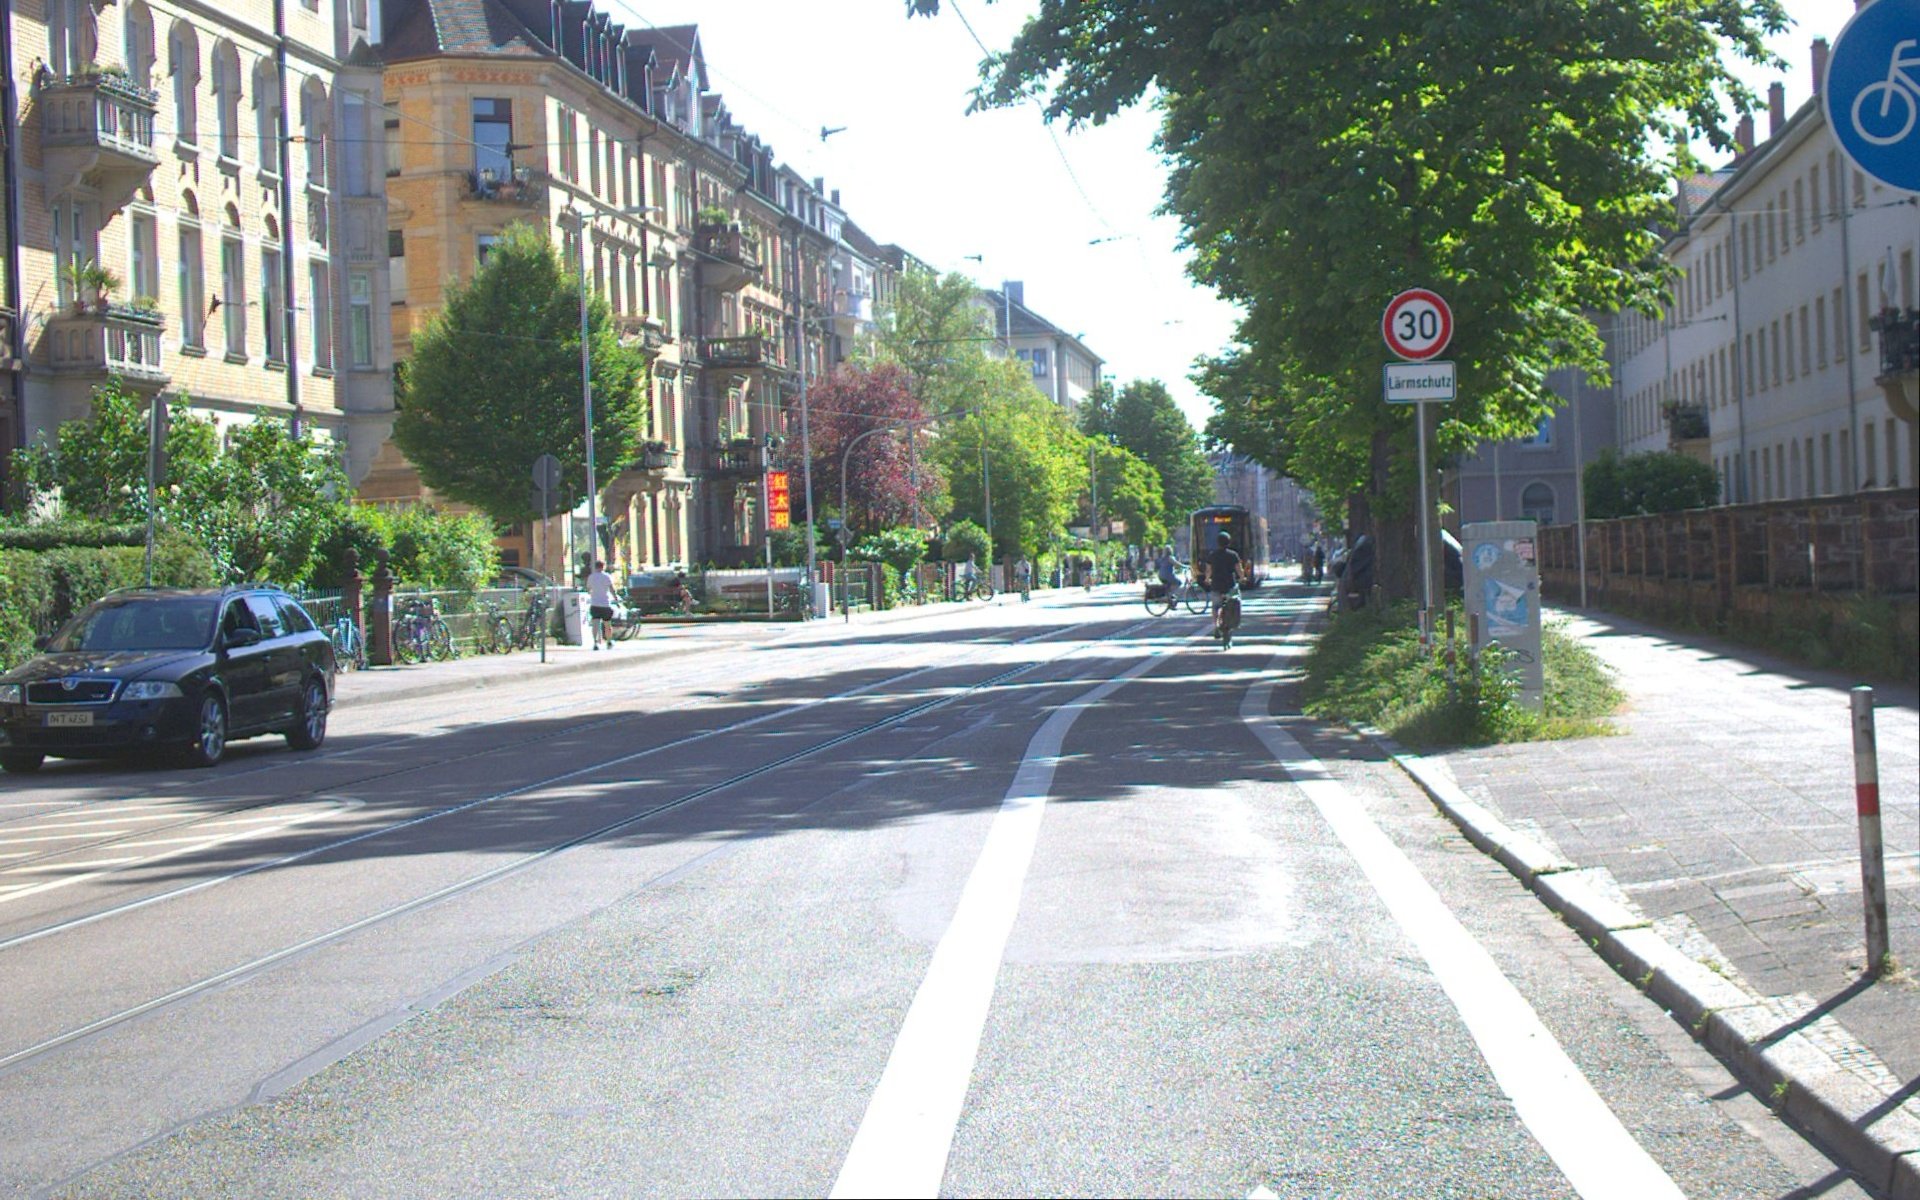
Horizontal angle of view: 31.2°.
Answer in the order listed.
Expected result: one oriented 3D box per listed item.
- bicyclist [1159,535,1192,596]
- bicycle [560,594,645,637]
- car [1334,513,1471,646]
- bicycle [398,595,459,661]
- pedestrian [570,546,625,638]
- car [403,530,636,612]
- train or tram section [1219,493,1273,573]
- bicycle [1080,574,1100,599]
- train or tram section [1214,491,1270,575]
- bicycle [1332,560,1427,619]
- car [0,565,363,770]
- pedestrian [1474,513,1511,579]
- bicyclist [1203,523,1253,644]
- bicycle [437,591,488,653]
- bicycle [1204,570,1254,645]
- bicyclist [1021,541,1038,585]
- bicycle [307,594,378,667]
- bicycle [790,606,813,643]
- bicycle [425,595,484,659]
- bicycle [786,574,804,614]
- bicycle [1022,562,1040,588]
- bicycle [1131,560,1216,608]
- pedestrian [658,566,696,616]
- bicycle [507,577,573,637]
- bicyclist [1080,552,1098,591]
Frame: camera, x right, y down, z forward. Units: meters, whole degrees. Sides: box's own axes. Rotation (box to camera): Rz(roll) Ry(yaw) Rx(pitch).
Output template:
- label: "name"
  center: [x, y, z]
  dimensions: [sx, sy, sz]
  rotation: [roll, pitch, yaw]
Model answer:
- label: "bicyclist"
  center: [5.210, -0.839, 83.043]
  dimensions: [0.613, 1.463, 0.637]
  rotation: [-1, 1, -13]
- label: "bicycle"
  center: [-8.056, 0.356, 77.523]
  dimensions: [1.782, 0.911, 0.621]
  rotation: [-1, -1, -29]
- label: "car"
  center: [6.154, -0.315, 48.187]
  dimensions: [1.744, 1.760, 4.477]
  rotation: [-1, 1, 6]
- label: "bicycle"
  center: [-8.754, 0.459, 56.669]
  dimensions: [0.563, 1.030, 1.767]
  rotation: [0, 1, 6]
- label: "pedestrian"
  center: [-6.846, -0.144, 64.962]
  dimensions: [0.829, 1.718, 1.082]
  rotation: [-1, 0, 5]
- label: "car"
  center: [-9.195, -0.611, 71.964]
  dimensions: [4.447, 1.638, 1.966]
  rotation: [-1, 0, 9]
- label: "train or tram section"
  center: [12.576, -2.953, 150.922]
  dimensions: [2.154, 3.420, 6.610]
  rotation: [-1, 1, 6]
- label: "bicycle"
  center: [6.032, -0.623, 159.438]
  dimensions: [0.692, 1.108, 1.718]
  rotation: [-3, 1, 7]
- label: "train or tram section"
  center: [11.872, -2.823, 144.306]
  dimensions: [2.154, 3.420, 6.610]
  rotation: [-1, 1, 6]
- label: "bicycle"
  center: [7.873, -0.198, 64.550]
  dimensions: [1.762, 1.074, 0.433]
  rotation: [-1, 1, 8]
- label: "car"
  center: [-6.633, 0.495, 28.939]
  dimensions: [1.832, 1.513, 4.966]
  rotation: [0, 1, 7]
- label: "pedestrian"
  center: [14.004, -1.415, 90.380]
  dimensions: [0.764, 1.718, 0.578]
  rotation: [0, 1, 36]
- label: "bicyclist"
  center: [4.123, -0.256, 52.797]
  dimensions: [0.727, 1.842, 0.836]
  rotation: [-1, 1, 6]
- label: "bicycle"
  center: [-8.876, 0.389, 61.275]
  dimensions: [0.563, 1.030, 1.768]
  rotation: [2, 1, -18]
- label: "bicycle"
  center: [4.139, 0.106, 52.834]
  dimensions: [0.692, 1.108, 1.718]
  rotation: [-1, 1, 6]
- label: "bicyclist"
  center: [2.633, -1.407, 129.765]
  dimensions: [0.464, 1.613, 0.744]
  rotation: [-4, 0, 7]
- label: "bicycle"
  center: [-9.413, 0.455, 52.464]
  dimensions: [0.563, 1.030, 1.767]
  rotation: [0, 2, 7]
- label: "bicycle"
  center: [-4.532, 0.693, 98.397]
  dimensions: [0.335, 0.997, 1.869]
  rotation: [-1, 1, 6]
- label: "bicycle"
  center: [-8.593, 0.456, 58.467]
  dimensions: [0.563, 1.030, 1.767]
  rotation: [0, 1, 6]
- label: "bicycle"
  center: [-4.687, -0.167, 97.447]
  dimensions: [0.371, 1.122, 0.808]
  rotation: [-1, 1, 6]
- label: "bicycle"
  center: [2.686, -0.942, 129.902]
  dimensions: [0.460, 0.922, 2.202]
  rotation: [-3, 1, 6]
- label: "bicycle"
  center: [5.154, -0.388, 83.029]
  dimensions: [1.910, 1.108, 0.694]
  rotation: [-1, 1, -13]
- label: "pedestrian"
  center: [-8.099, -0.263, 98.350]
  dimensions: [0.901, 1.348, 0.577]
  rotation: [-4, 0, 8]
- label: "bicycle"
  center: [-7.795, 0.123, 63.732]
  dimensions: [0.563, 1.030, 1.768]
  rotation: [-2, 2, -30]
- label: "bicyclist"
  center: [5.987, -1.319, 159.371]
  dimensions: [0.660, 1.795, 0.615]
  rotation: [-4, 0, 7]
